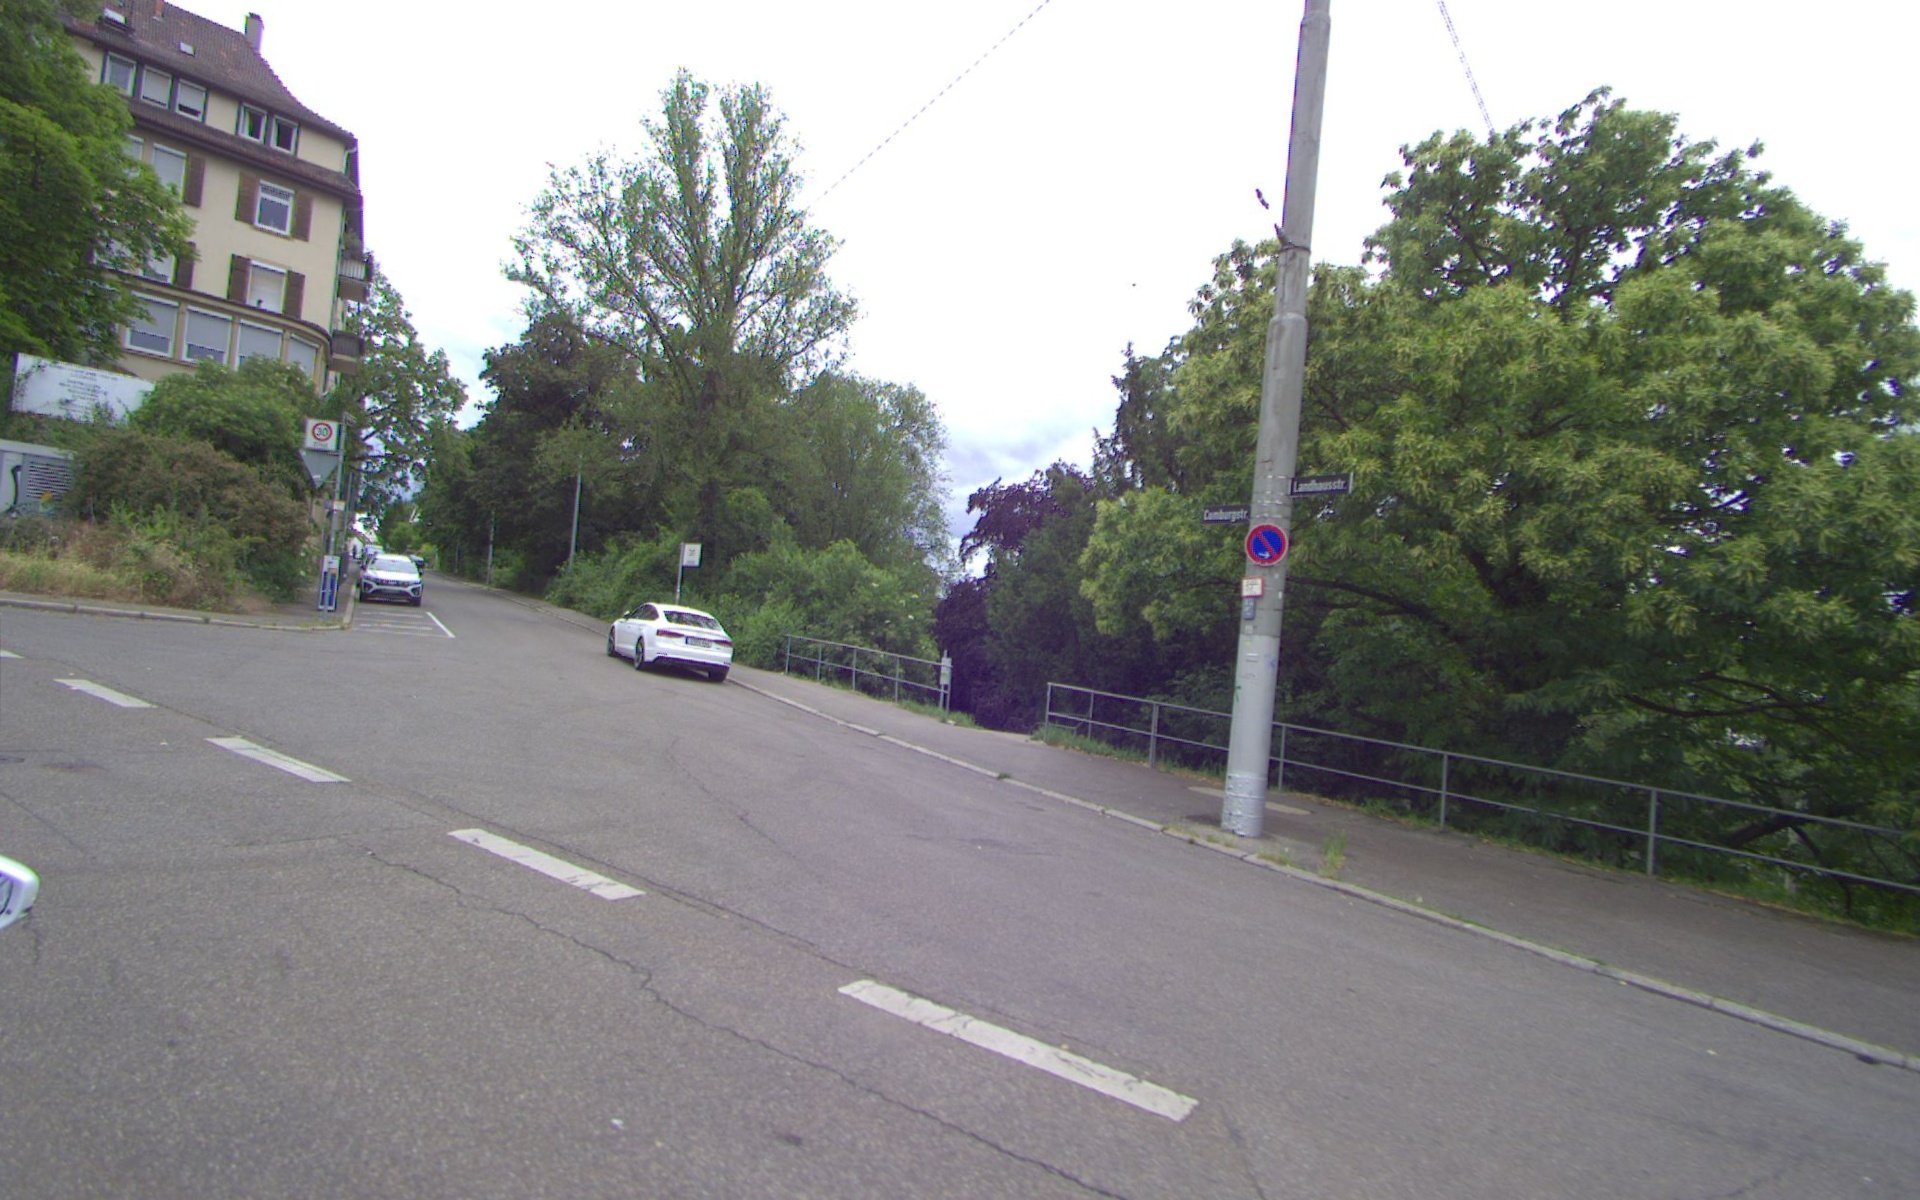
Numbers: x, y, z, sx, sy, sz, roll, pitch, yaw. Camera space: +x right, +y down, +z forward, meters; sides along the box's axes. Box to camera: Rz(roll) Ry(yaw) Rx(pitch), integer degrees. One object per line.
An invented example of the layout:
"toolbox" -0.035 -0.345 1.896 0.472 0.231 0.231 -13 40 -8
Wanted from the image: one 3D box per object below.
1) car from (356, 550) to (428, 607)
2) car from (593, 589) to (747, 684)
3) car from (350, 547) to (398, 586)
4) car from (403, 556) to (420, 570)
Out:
"car" -19.069 -0.750 33.853 1.826 1.552 4.472 7 -1 -29
"car" -6.338 0.719 21.605 1.883 1.395 4.562 11 -3 -31
"car" -27.192 -1.573 46.710 1.731 1.559 3.759 6 -1 -30
"car" -69.871 -4.757 128.050 1.731 1.559 3.759 6 -1 -30
